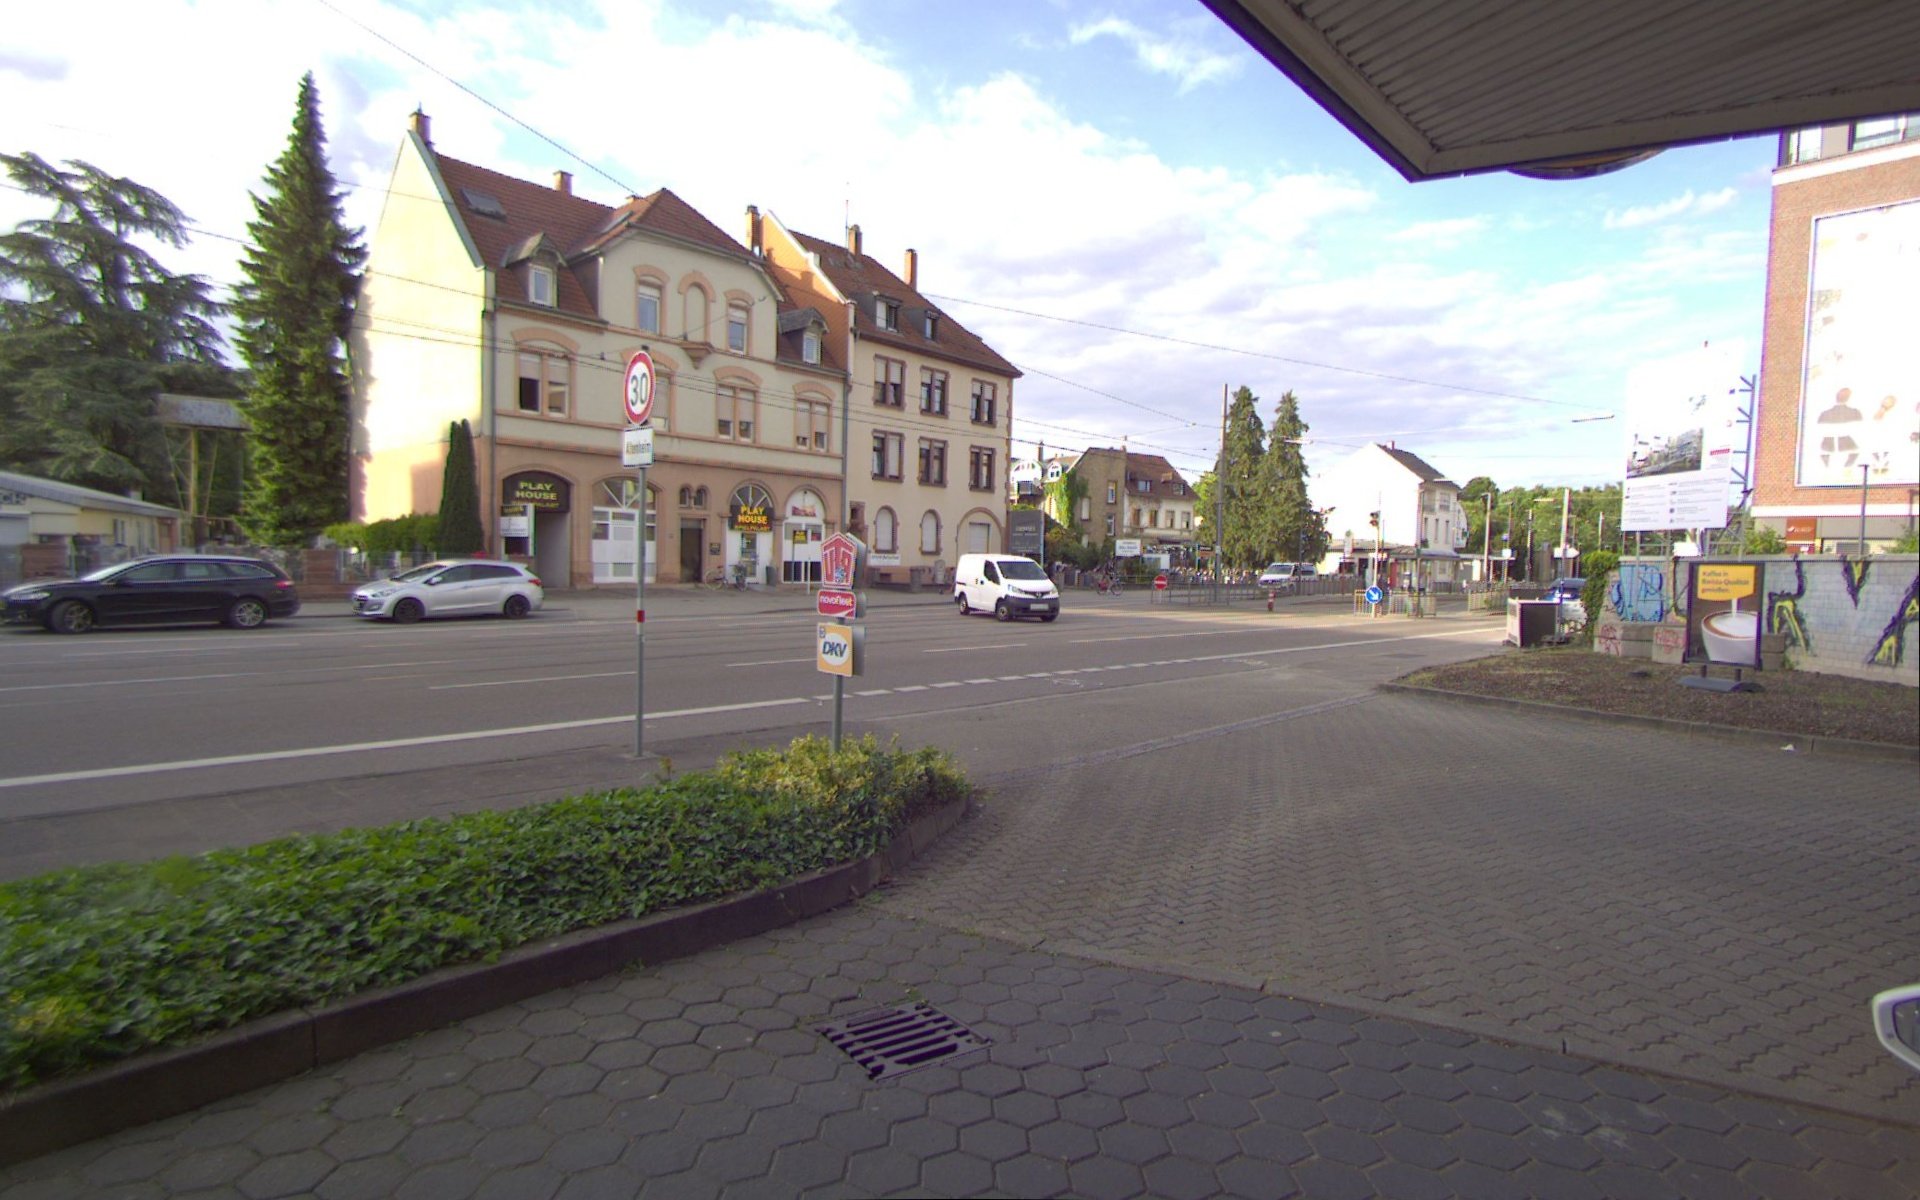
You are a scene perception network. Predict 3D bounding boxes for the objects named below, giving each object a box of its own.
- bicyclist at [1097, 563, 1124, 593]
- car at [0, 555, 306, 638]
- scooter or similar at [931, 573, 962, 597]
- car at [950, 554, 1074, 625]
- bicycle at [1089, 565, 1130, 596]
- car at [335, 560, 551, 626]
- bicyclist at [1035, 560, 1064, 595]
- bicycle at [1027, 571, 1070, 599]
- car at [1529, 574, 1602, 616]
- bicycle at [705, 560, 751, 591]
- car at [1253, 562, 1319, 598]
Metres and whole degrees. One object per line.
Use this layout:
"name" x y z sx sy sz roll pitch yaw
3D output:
"bicyclist" 7.956 -1.170 53.056 1.079 1.512 0.785 2 4 -20
"car" -16.570 -0.144 20.738 1.970 1.516 4.801 3 3 40
"scooter or similar" -0.599 -0.681 45.142 0.488 1.015 1.592 5 5 39
"car" 1.431 -0.378 29.784 1.940 1.915 4.387 1 2 -22
"bicycle" 7.902 -1.036 53.046 1.962 1.512 0.785 2 4 -21
"car" -13.001 -0.241 25.470 1.970 1.495 4.467 3 3 40
"bicyclist" 4.329 -1.105 48.617 0.953 1.579 0.839 1 6 -31
"bicycle" 4.299 -0.714 48.665 1.884 1.219 0.839 1 6 -31
"car" 26.891 -0.224 44.530 1.745 1.679 4.822 5 4 43
"bicycle" -9.144 -0.949 39.715 0.508 1.189 1.809 4 2 40
"car" 19.347 -1.198 59.512 1.971 1.995 4.863 3 3 41
